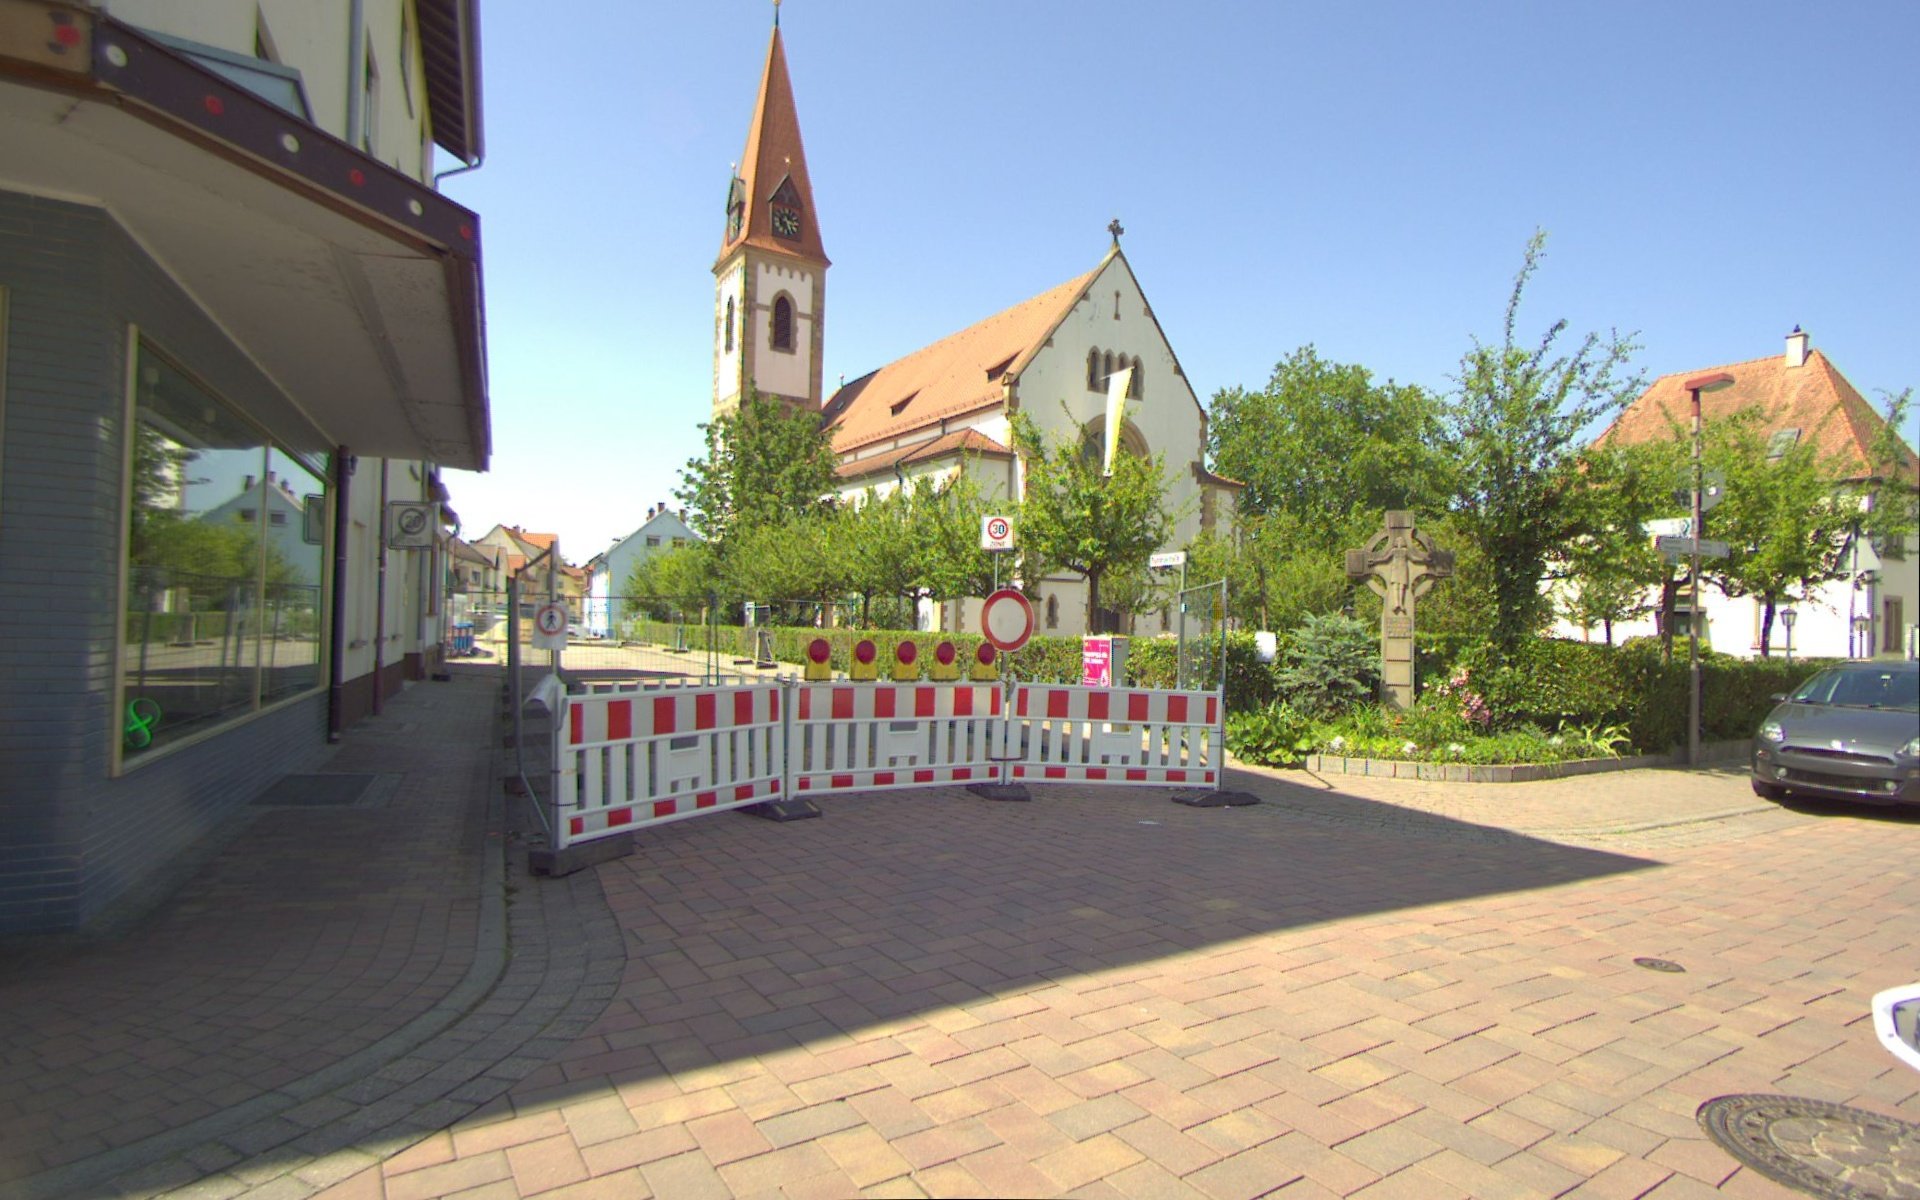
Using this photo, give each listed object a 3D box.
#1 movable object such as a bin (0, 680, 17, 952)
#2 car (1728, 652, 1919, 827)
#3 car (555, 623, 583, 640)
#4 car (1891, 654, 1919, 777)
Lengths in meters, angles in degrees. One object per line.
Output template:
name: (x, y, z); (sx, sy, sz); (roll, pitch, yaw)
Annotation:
movable object such as a bin: (-3.934, 0.854, 3.633); (0.658, 1.084, 0.650); (3, -1, -38)
car: (9.857, 1.367, 10.652); (3.820, 1.516, 1.691); (3, -2, -36)
car: (-35.715, 2.861, 91.714); (1.793, 1.483, 3.914); (3, -2, -29)
car: (14.734, 1.616, 13.830); (3.979, 1.626, 1.806); (3, -2, -31)
